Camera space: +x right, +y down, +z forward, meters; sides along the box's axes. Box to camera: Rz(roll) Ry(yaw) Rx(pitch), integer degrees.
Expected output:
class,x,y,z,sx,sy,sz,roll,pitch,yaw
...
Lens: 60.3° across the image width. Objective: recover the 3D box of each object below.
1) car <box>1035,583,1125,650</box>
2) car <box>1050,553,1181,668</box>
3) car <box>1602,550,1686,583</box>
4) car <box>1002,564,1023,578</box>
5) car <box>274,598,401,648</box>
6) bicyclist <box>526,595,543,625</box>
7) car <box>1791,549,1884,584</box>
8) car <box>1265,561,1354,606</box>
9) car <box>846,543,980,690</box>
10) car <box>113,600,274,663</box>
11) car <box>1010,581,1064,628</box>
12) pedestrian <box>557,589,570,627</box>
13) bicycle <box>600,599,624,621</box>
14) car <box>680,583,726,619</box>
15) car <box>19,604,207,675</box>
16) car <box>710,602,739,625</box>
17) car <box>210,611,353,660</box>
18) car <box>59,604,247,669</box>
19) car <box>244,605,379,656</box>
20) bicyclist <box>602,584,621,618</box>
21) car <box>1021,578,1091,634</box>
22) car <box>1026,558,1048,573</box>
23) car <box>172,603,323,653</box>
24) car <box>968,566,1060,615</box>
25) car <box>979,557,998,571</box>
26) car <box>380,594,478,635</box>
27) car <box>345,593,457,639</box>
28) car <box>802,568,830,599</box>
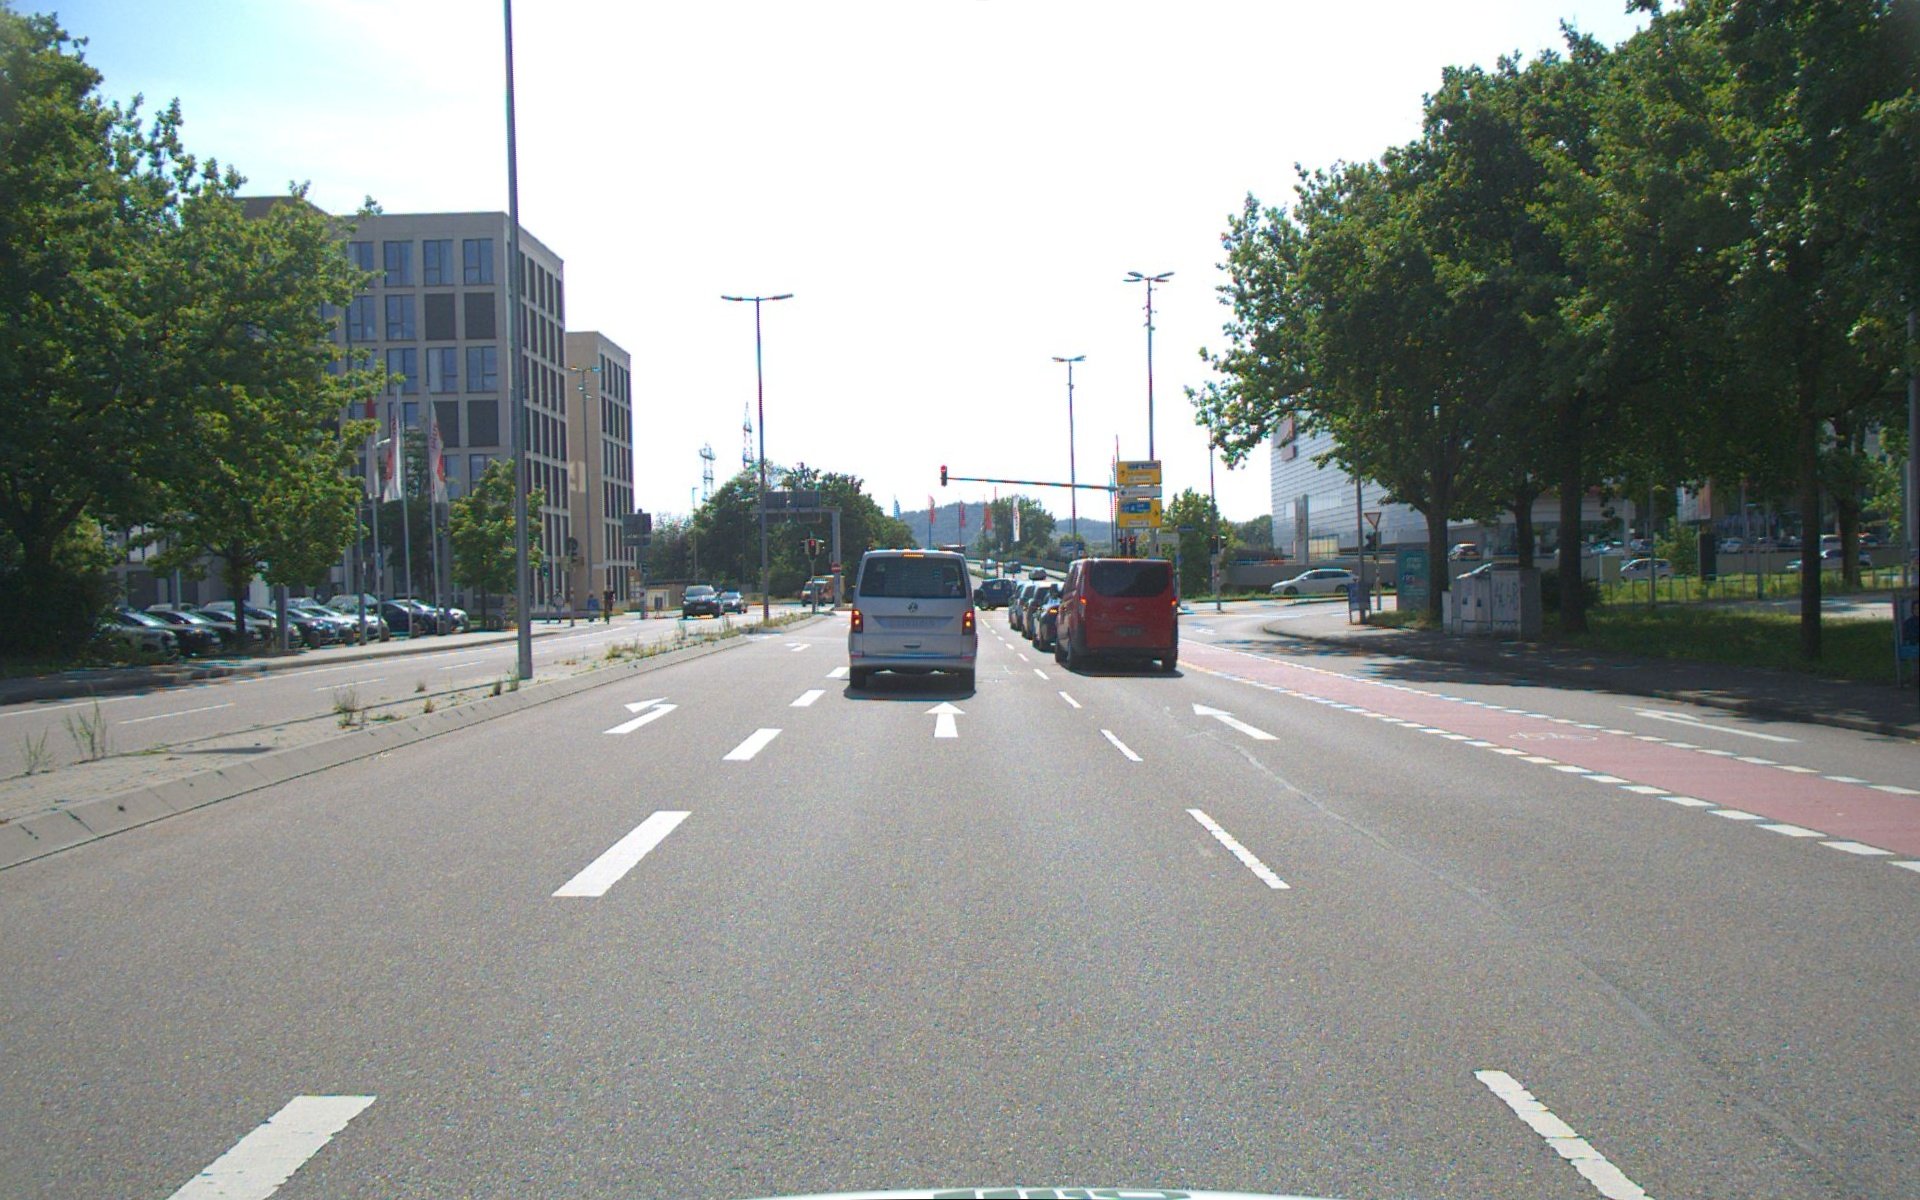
class,x,y,z,sx,sy,sz,roll,pitch,yaw
car,2.763,0.341,38.808,1.711,1.484,4.475,0,1,-1
car,2.851,0.145,31.434,1.927,2.002,5.124,0,1,-1
car,38.528,-1.866,93.262,4.046,1.545,1.482,-4,0,4
car,7.690,-4.241,243.974,1.961,2.049,3.983,0,1,-16
car,-22.398,0.824,59.606,3.794,1.388,1.749,-5,1,3
bicyclist,-22.142,0.526,86.030,0.617,1.527,1.028,-1,0,-1
car,46.434,-1.781,87.587,4.046,1.545,1.482,-4,0,4
car,18.307,-0.845,86.698,4.310,2.029,1.482,-4,0,4
car,-0.673,0.199,24.830,1.846,2.025,4.000,0,1,-1
car,-22.233,0.908,48.054,3.794,1.444,1.660,-5,1,3
car,2.517,0.112,54.479,1.546,1.483,3.785,0,1,-1
pedestrian,-21.273,0.437,88.796,0.547,2.049,0.576,0,0,0
bicycle,-16.291,0.474,77.370,0.666,0.957,1.973,-2,1,0
car,-12.809,0.014,82.607,1.704,1.646,4.207,-4,1,-3
car,-21.990,1.013,43.025,3.794,1.444,1.912,-5,1,3
car,-16.260,0.933,114.360,1.545,1.434,4.377,-2,1,-3
car,-22.204,1.162,54.191,3.794,1.186,1.912,-5,1,3
car,-22.277,1.003,45.774,4.081,1.354,2.038,-5,1,3
car,-22.297,1.043,56.948,3.794,1.356,1.849,-5,1,3
bicyclist,-16.281,0.022,77.197,0.606,1.553,1.036,-2,1,0
car,2.708,0.139,47.511,1.711,1.543,4.077,0,1,-1
car,10.595,-4.752,227.730,1.961,2.049,3.983,0,1,-16
car,-22.037,0.855,51.217,3.794,1.172,1.796,-5,1,3
car,2.605,-0.460,80.340,4.311,2.029,1.481,-4,0,1
car,4.404,-5.600,256.213,1.961,2.049,3.983,0,1,-16
car,-22.480,0.605,70.072,3.521,1.381,1.640,-5,1,0
car,-22.763,0.639,67.454,3.795,1.490,1.868,-5,1,1
car,-12.727,-1.486,146.050,2.358,2.605,6.888,-2,1,-5
